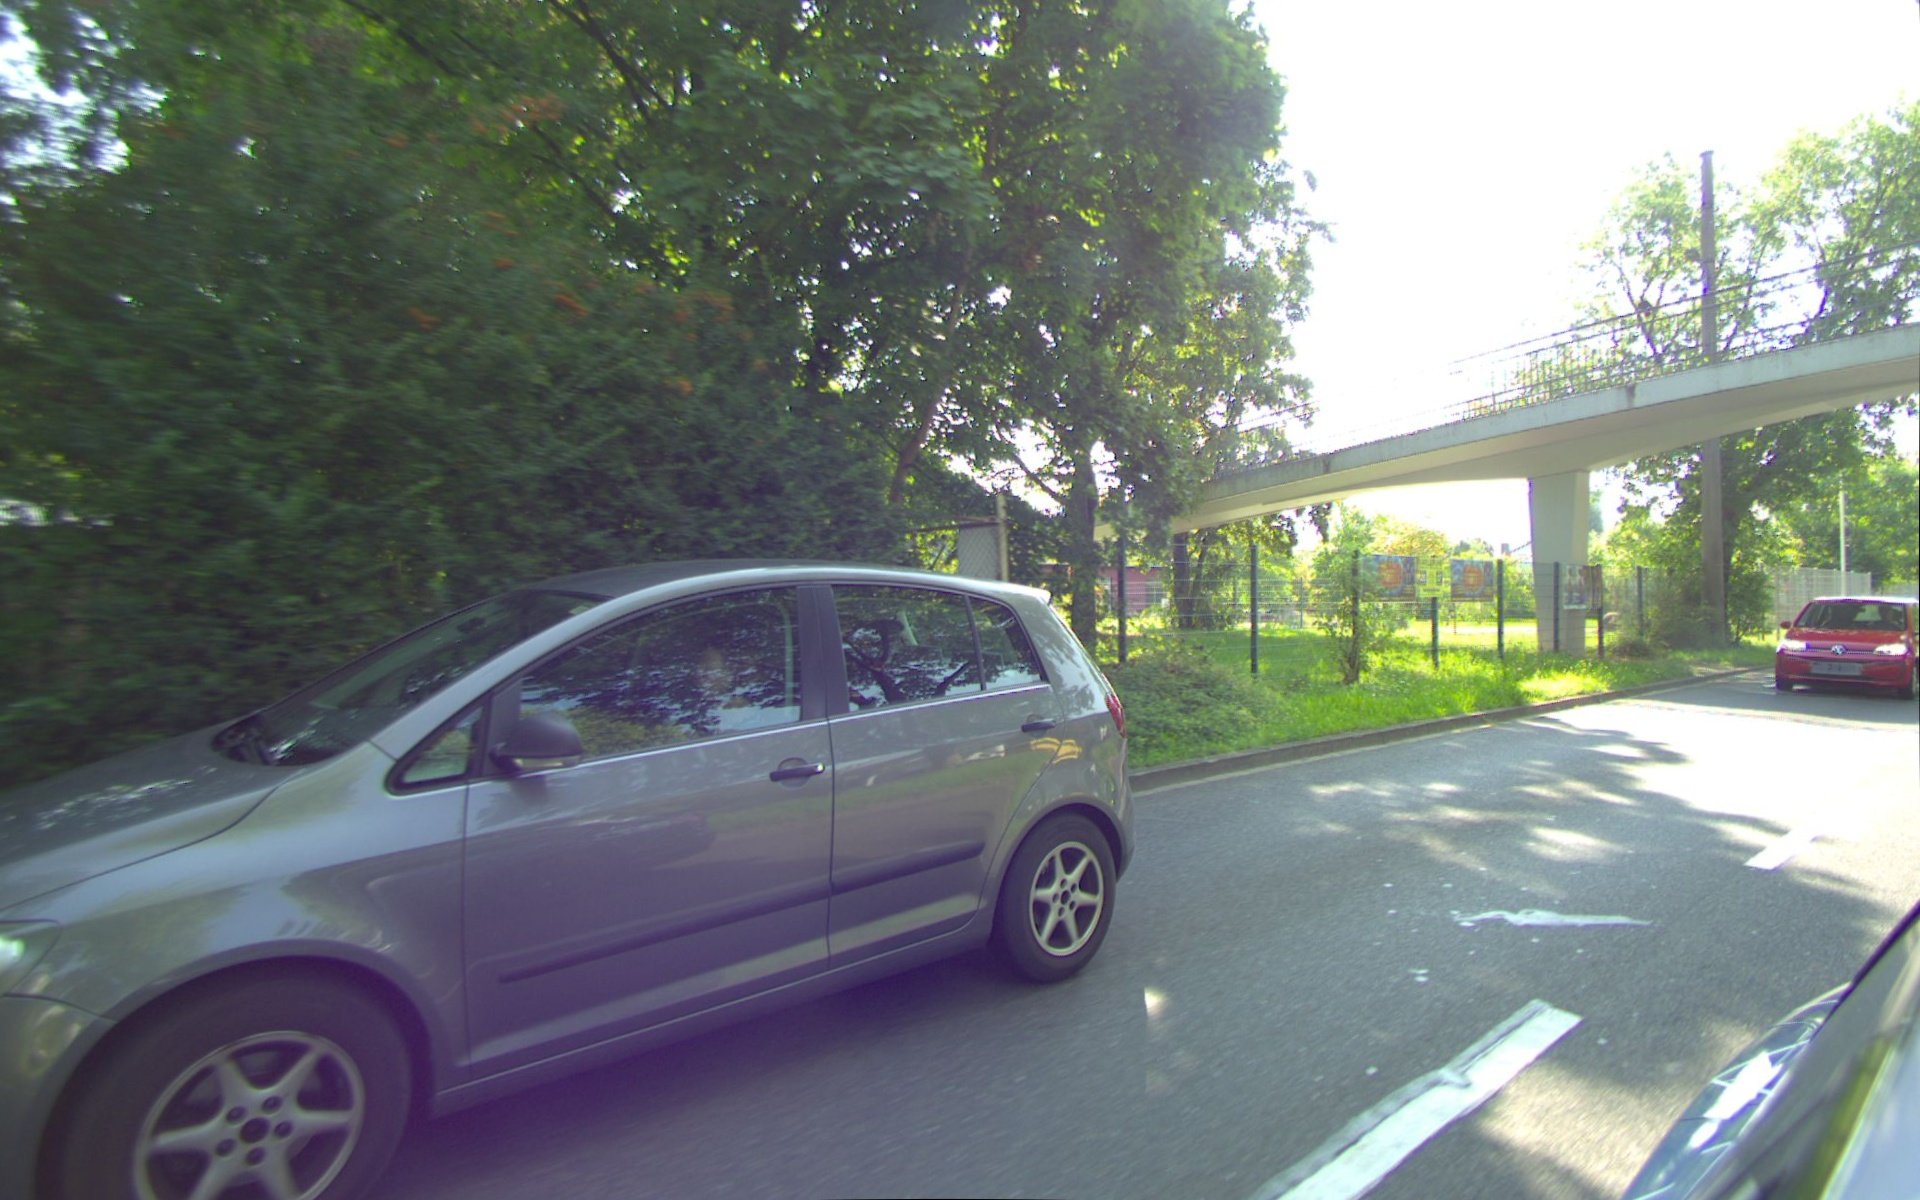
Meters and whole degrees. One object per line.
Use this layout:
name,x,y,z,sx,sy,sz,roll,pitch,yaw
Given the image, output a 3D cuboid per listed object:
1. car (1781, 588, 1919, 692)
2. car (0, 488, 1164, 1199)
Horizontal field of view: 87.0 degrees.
car,14.351,0.538,15.858,3.408,1.416,1.579,-1,1,-38
car,-1.158,0.569,3.511,3.831,1.576,1.647,-1,-1,-41
